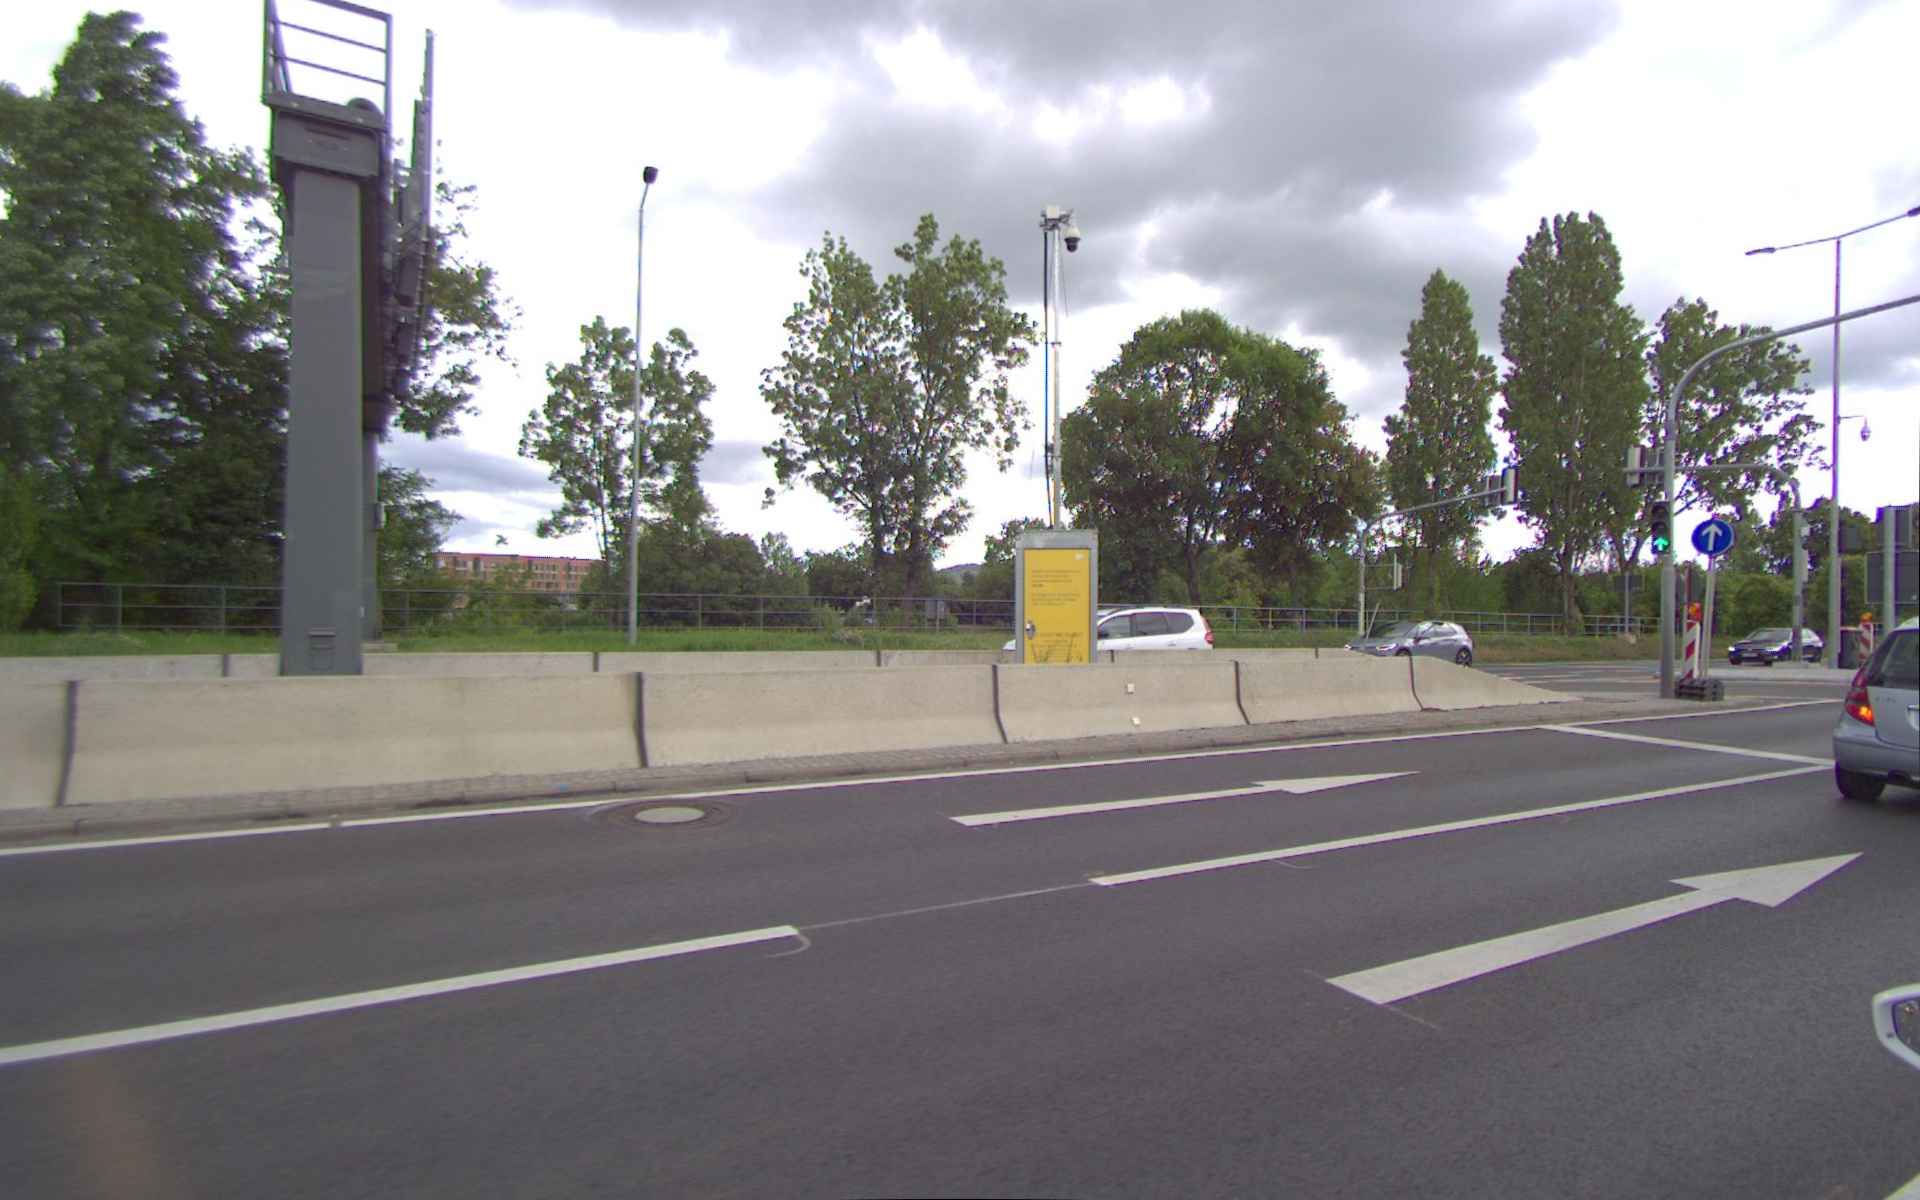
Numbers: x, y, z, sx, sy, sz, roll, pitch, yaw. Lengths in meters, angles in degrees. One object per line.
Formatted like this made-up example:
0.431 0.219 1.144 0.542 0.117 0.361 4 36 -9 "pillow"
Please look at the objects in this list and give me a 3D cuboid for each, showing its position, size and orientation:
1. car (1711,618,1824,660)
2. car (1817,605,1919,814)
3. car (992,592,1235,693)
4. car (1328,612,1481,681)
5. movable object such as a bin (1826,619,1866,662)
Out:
32.159 1.520 39.977 4.512 1.571 1.985 1 0 -29 "car"
9.038 0.864 8.353 3.954 1.550 1.702 1 2 -31 "car"
3.004 0.763 19.458 4.360 1.707 1.983 1 2 -31 "car"
12.842 1.271 28.955 4.239 1.679 1.982 -1 2 -32 "car"
23.097 1.050 26.186 0.732 1.073 0.538 1 2 -30 "movable object such as a bin"
